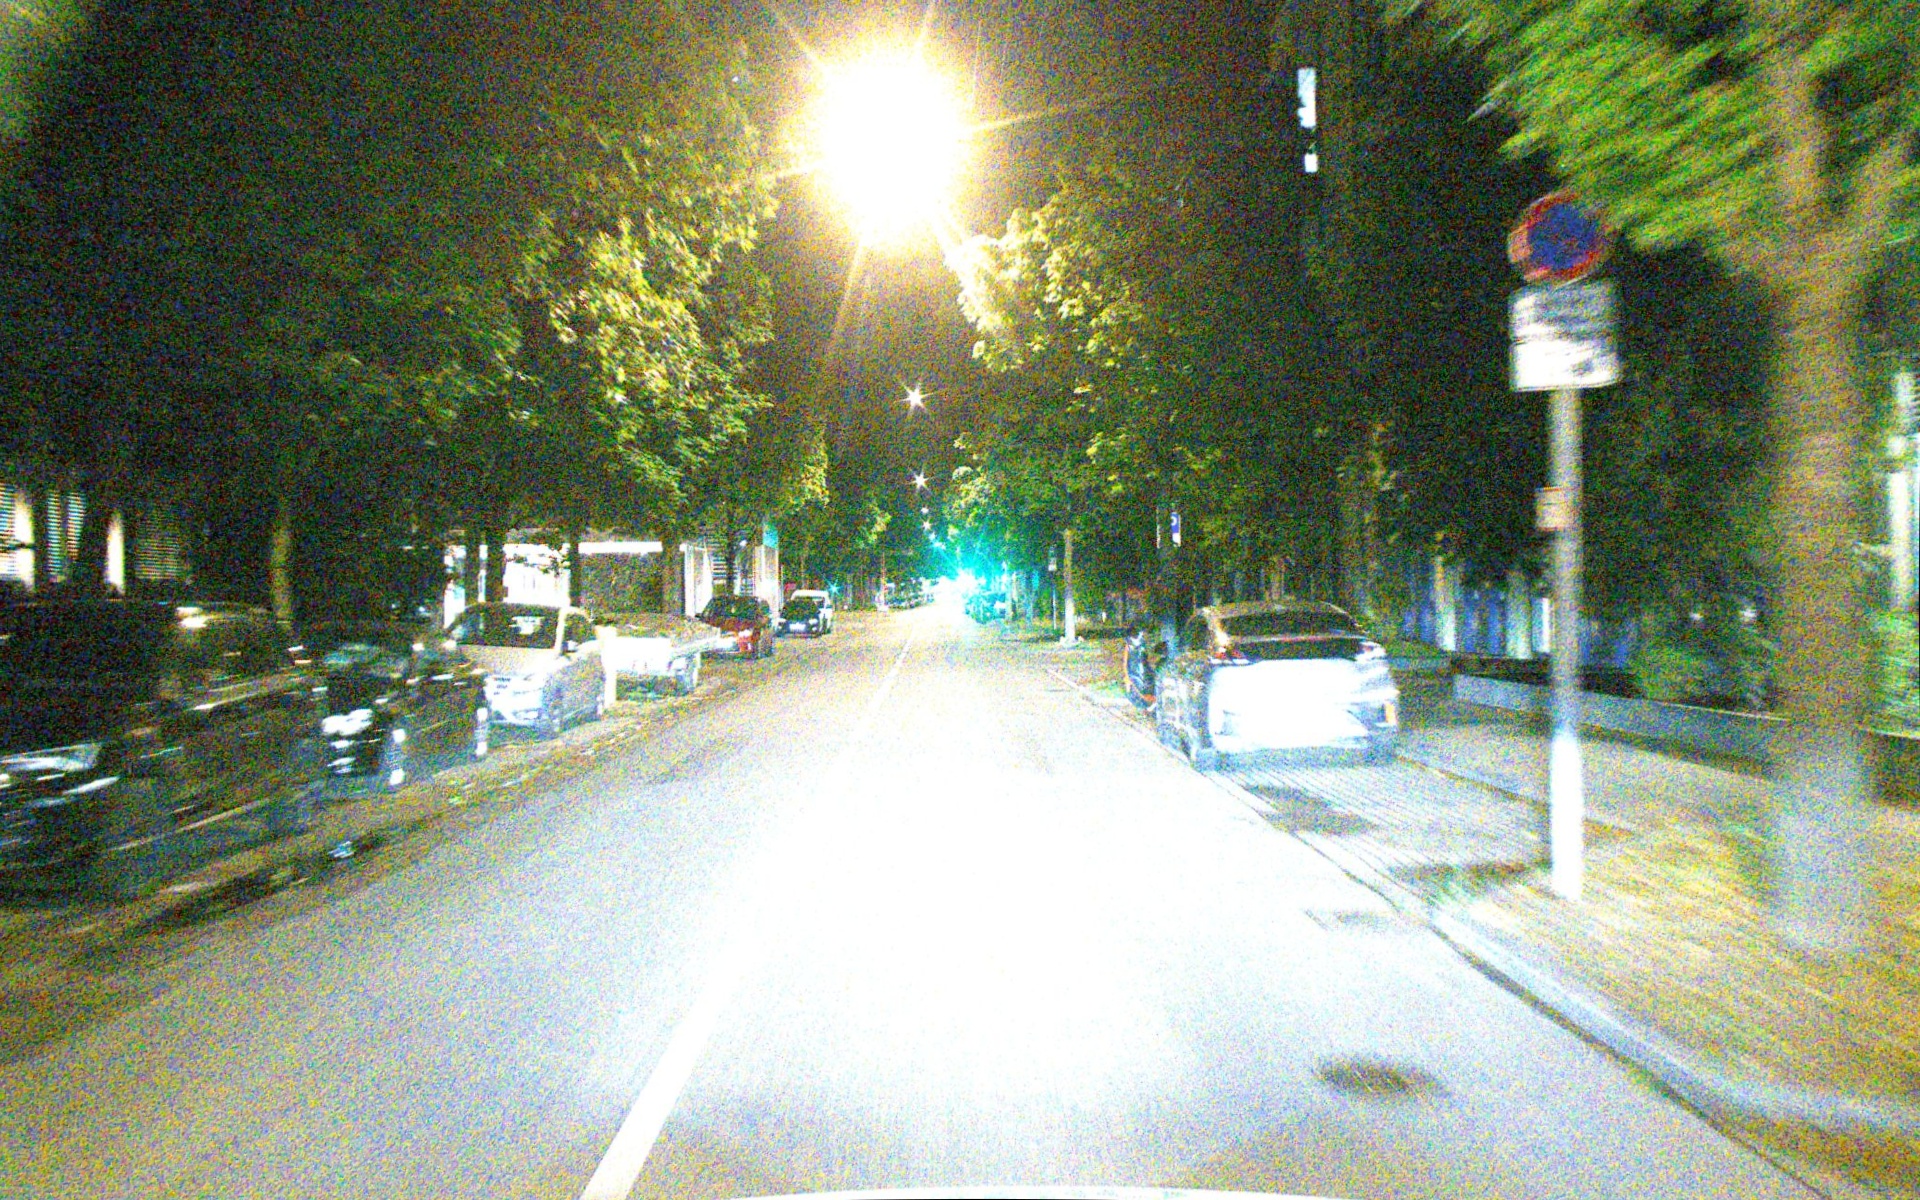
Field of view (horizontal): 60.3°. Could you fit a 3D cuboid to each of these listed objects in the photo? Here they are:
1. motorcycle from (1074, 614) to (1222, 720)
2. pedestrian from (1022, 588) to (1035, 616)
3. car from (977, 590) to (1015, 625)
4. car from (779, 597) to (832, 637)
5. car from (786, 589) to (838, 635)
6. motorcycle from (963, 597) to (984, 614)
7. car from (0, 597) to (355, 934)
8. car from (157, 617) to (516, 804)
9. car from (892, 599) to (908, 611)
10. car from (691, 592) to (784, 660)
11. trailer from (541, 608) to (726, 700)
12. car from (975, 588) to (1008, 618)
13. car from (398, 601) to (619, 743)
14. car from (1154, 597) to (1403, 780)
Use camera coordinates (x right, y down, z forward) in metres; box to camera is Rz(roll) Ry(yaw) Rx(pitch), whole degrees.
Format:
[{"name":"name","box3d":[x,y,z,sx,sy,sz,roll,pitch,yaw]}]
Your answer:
[{"name":"motorcycle","box3d":[2.472,0.852,22.061,0.914,1.306,2.216,-1,0,-25]},{"name":"pedestrian","box3d":[4.363,0.150,105.327,0.691,1.752,0.821,-2,0,-1]},{"name":"car","box3d":[1.849,0.376,86.394,1.815,1.682,4.209,-2,0,0]},{"name":"car","box3d":[-6.124,0.664,65.815,1.665,1.458,3.828,3,0,0]},{"name":"car","box3d":[-6.398,0.498,71.879,1.785,1.843,4.210,3,0,0]},{"name":"motorcycle","box3d":[1.065,0.438,127.508,0.625,1.292,2.058,0,0,34]},{"name":"car","box3d":[-5.322,0.814,10.265,1.707,1.634,4.296,1,0,-3]},{"name":"car","box3d":[-5.585,0.905,15.488,1.670,1.436,4.632,1,0,-1]},{"name":"car","box3d":[-7.048,0.556,194.316,1.705,1.440,3.751,0,0,0]},{"name":"car","box3d":[-5.816,0.651,43.609,1.785,1.626,4.073,3,0,0]},{"name":"trailer","box3d":[-5.541,0.864,28.856,2.067,1.358,5.435,2,0,0]},{"name":"car","box3d":[2.012,0.188,106.932,1.736,1.838,4.275,-2,0,-3]},{"name":"car","box3d":[-5.544,0.819,20.853,1.682,1.528,4.204,2,0,-2]},{"name":"car","box3d":[2.902,0.735,15.894,1.634,1.454,4.148,-2,0,1]}]
